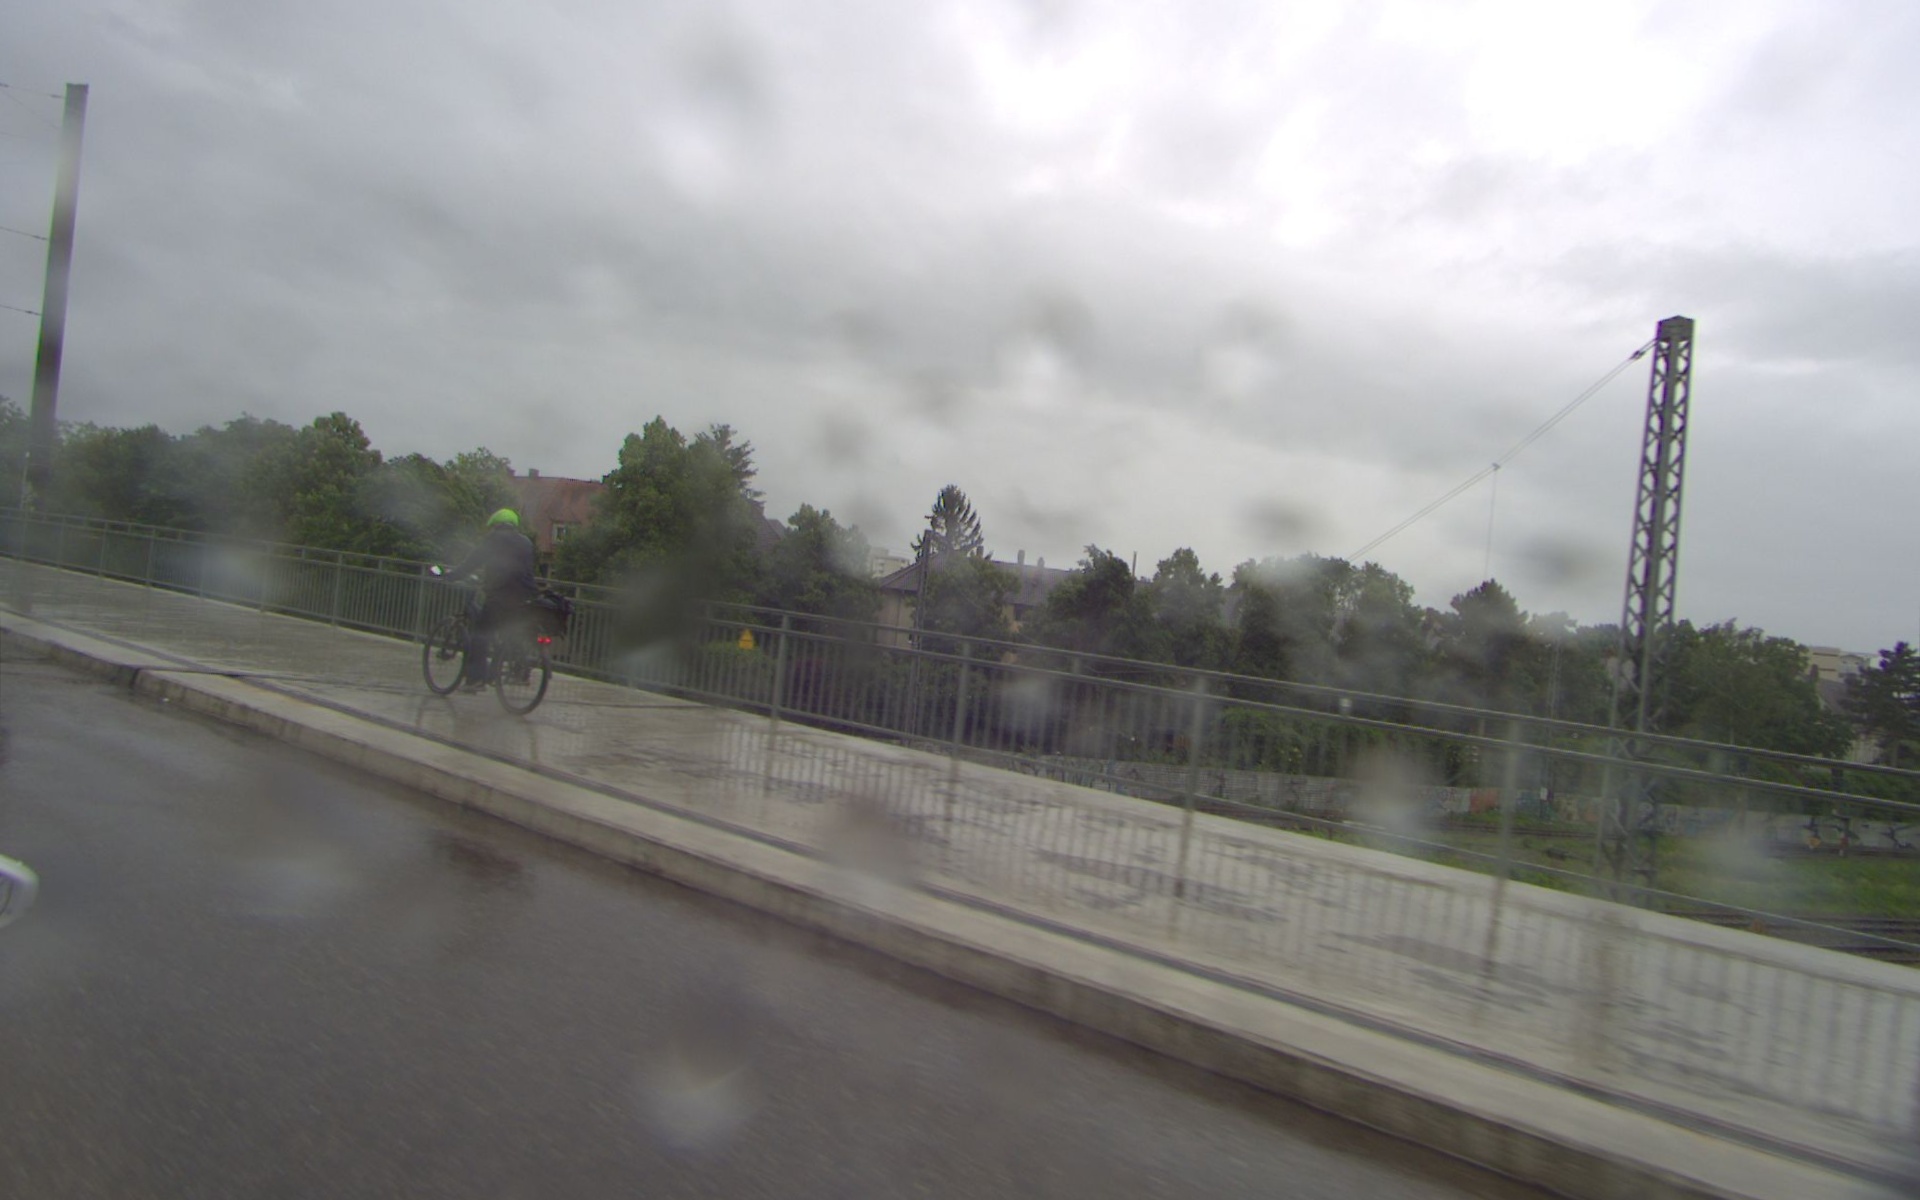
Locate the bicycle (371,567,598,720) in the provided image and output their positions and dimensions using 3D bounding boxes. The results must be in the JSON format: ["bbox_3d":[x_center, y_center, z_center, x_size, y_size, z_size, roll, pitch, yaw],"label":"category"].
[{"bbox_3d":[-4.403,0.381,9.261,2.132,1.141,0.725,6,-3,32],"label":"bicycle"}]

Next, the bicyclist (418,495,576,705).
[{"bbox_3d":[-4.238,0.003,9.216,0.934,1.783,0.727,5,-3,32],"label":"bicyclist"}]
